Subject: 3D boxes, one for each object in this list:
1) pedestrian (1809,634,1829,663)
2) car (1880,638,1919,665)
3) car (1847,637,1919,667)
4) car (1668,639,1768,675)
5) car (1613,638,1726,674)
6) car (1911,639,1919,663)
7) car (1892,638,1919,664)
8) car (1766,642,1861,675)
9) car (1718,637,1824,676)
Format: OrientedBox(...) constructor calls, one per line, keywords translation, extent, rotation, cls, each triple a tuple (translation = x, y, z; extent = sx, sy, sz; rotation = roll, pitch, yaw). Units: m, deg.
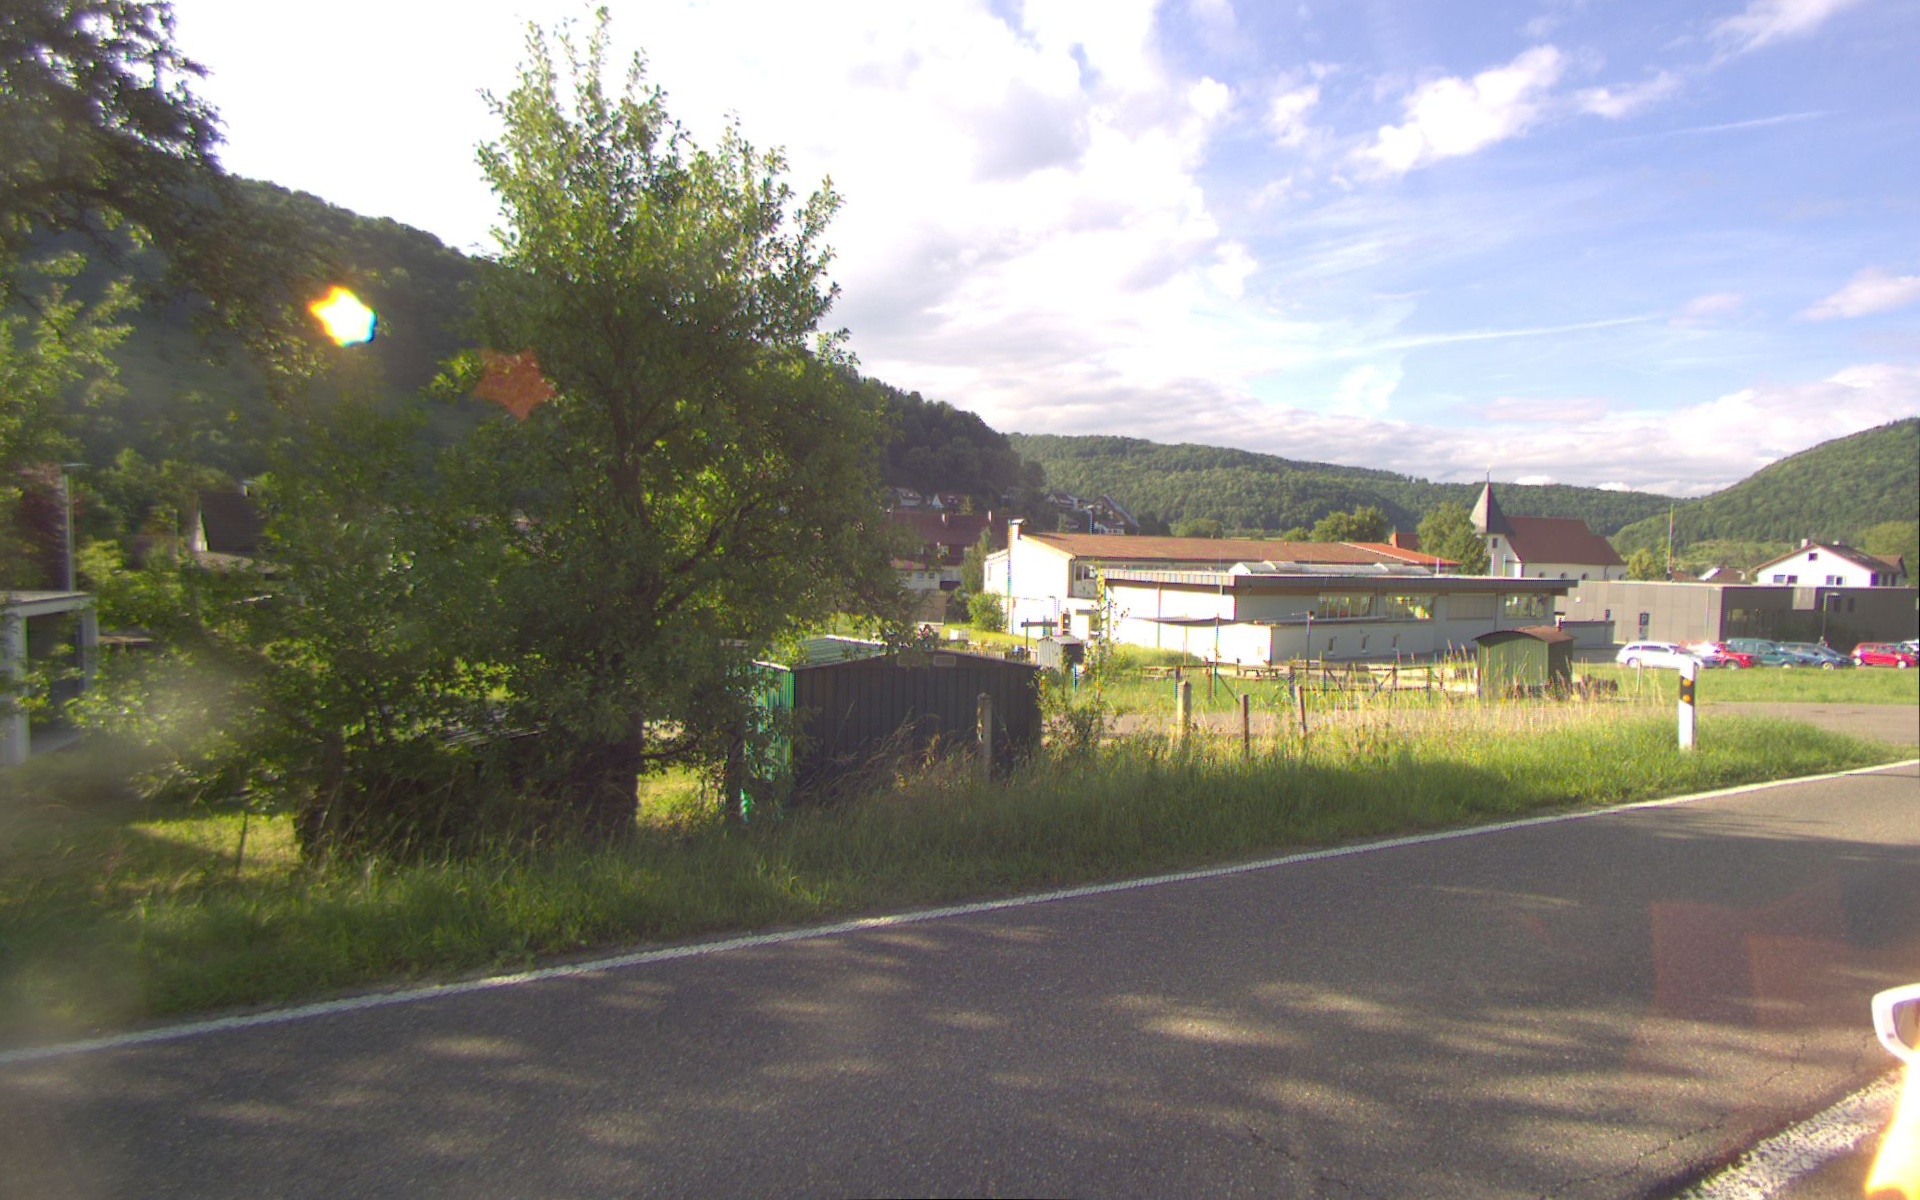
OrientedBox(translation=(63.049, 3.549, 73.739), extent=(0.962, 2.040, 0.821), rotation=(2, 0, -30), cls="pedestrian")
OrientedBox(translation=(64.451, 3.495, 67.144), extent=(1.978, 1.733, 3.965), rotation=(2, 0, -32), cls="car")
OrientedBox(translation=(60.440, 3.358, 65.115), extent=(1.978, 1.733, 3.965), rotation=(2, 0, -32), cls="car")
OrientedBox(translation=(42.209, 3.159, 56.014), extent=(1.978, 1.733, 3.965), rotation=(2, 0, -32), cls="car")
OrientedBox(translation=(39.108, 3.060, 55.486), extent=(1.978, 1.733, 4.705), rotation=(2, 0, -32), cls="car")
OrientedBox(translation=(70.171, 3.696, 70.967), extent=(1.978, 1.733, 3.965), rotation=(2, 0, -32), cls="car")
OrientedBox(translation=(67.329, 3.598, 69.402), extent=(1.978, 1.733, 3.965), rotation=(2, 0, -32), cls="car")
OrientedBox(translation=(51.355, 3.471, 60.520), extent=(1.978, 1.733, 3.965), rotation=(2, 0, -32), cls="car")
OrientedBox(translation=(47.302, 3.265, 58.664), extent=(1.978, 2.034, 4.382), rotation=(2, 0, -32), cls="car")
